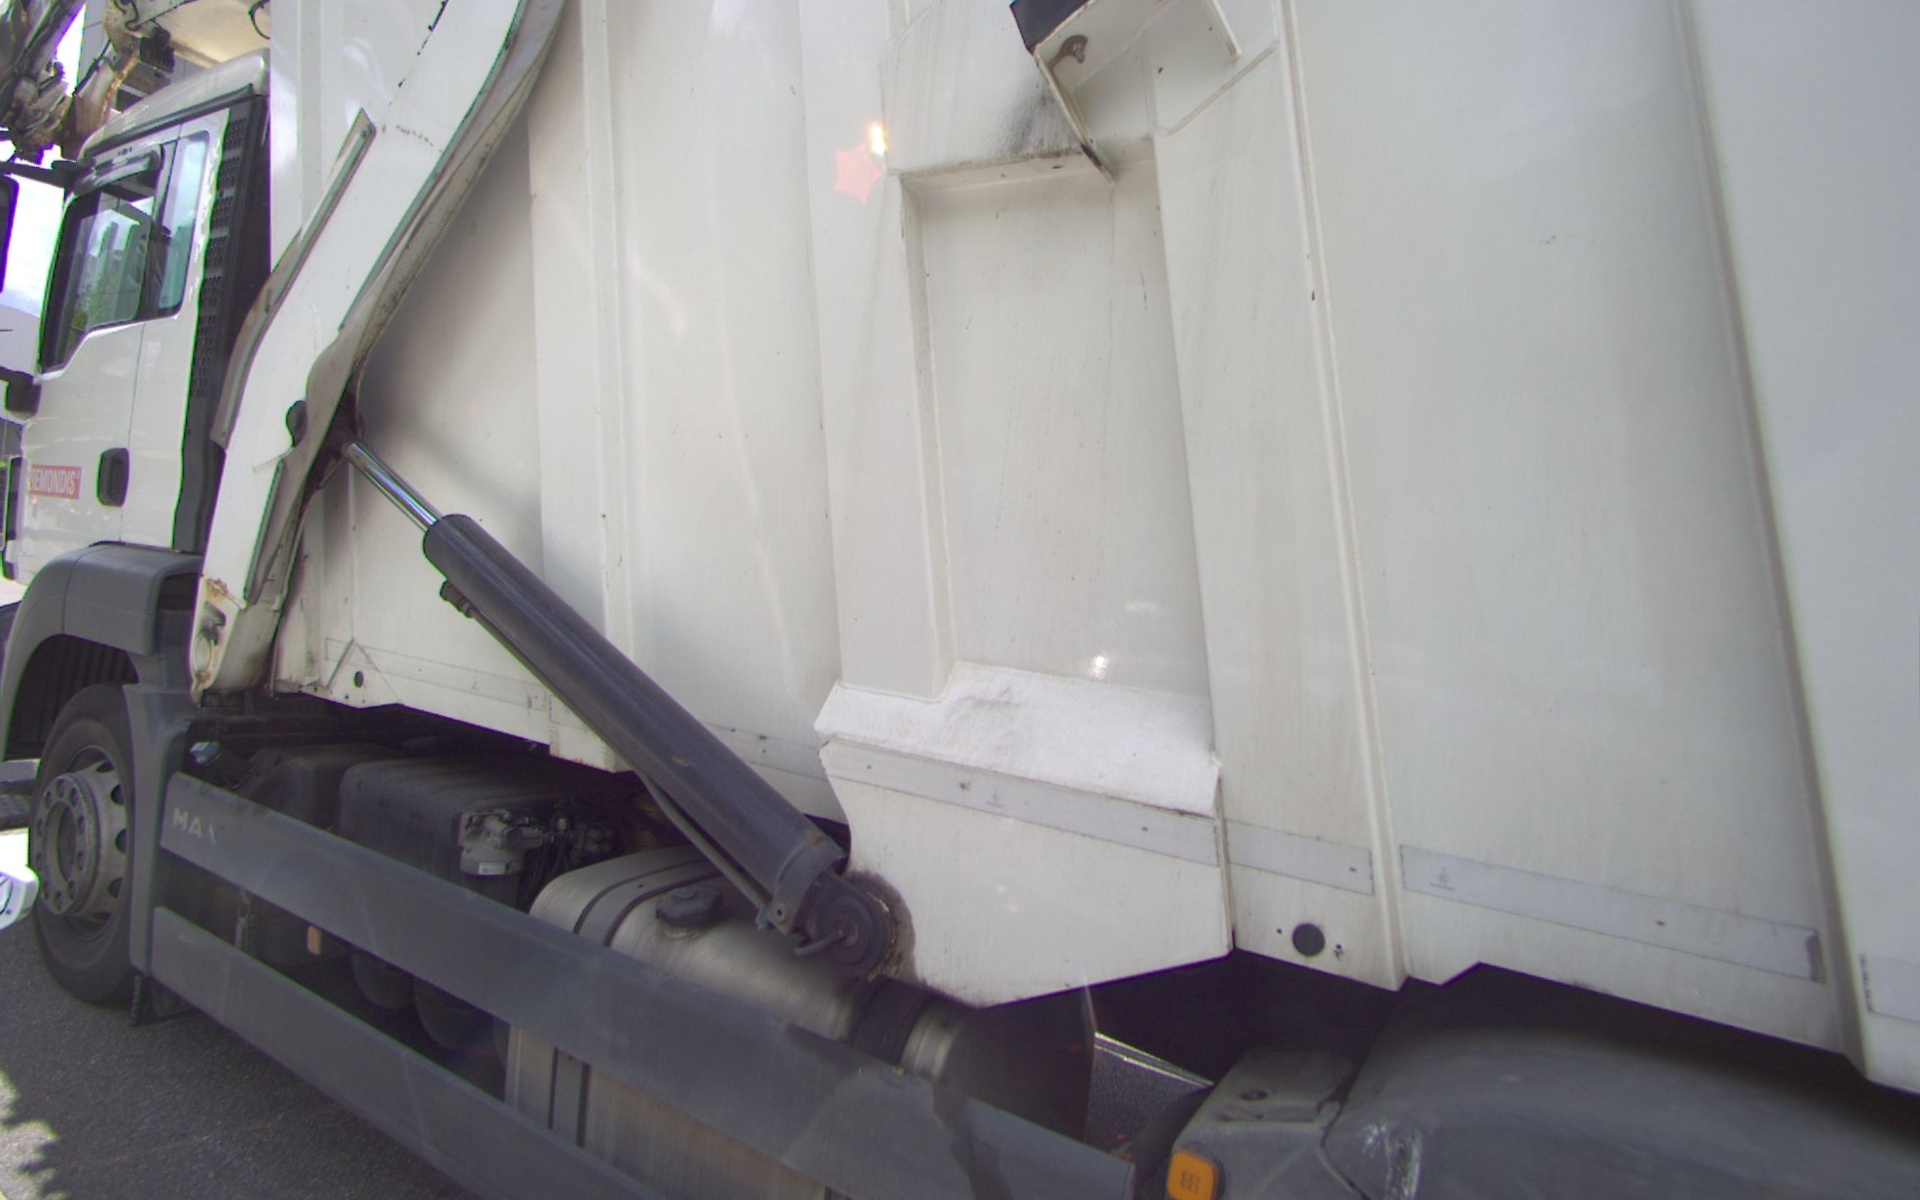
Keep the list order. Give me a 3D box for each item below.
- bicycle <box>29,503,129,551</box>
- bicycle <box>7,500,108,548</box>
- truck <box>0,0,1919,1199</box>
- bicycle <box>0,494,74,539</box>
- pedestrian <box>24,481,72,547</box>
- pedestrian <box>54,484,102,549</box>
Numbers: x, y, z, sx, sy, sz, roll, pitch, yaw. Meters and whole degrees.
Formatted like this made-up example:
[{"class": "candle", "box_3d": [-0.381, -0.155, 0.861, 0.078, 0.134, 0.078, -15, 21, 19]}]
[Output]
[{"class": "bicycle", "box_3d": [-27.107, -2.233, 30.991, 2.166, 1.099, 0.474, 8, -1, -23]}, {"class": "bicycle", "box_3d": [-27.960, -2.338, 31.205, 2.197, 1.099, 0.474, 8, -1, -23]}, {"class": "truck", "box_3d": [1.119, -0.376, 2.187, 10.003, 3.958, 2.494, 6, -1, 31]}, {"class": "bicycle", "box_3d": [-29.296, -2.644, 31.490, 2.197, 1.099, 0.474, 8, -1, -23]}, {"class": "pedestrian", "box_3d": [-26.437, -2.477, 29.178, 0.699, 1.818, 0.642, 6, 3, 2]}, {"class": "pedestrian", "box_3d": [-26.272, -2.481, 29.971, 0.698, 1.818, 0.693, 6, 3, 3]}]
